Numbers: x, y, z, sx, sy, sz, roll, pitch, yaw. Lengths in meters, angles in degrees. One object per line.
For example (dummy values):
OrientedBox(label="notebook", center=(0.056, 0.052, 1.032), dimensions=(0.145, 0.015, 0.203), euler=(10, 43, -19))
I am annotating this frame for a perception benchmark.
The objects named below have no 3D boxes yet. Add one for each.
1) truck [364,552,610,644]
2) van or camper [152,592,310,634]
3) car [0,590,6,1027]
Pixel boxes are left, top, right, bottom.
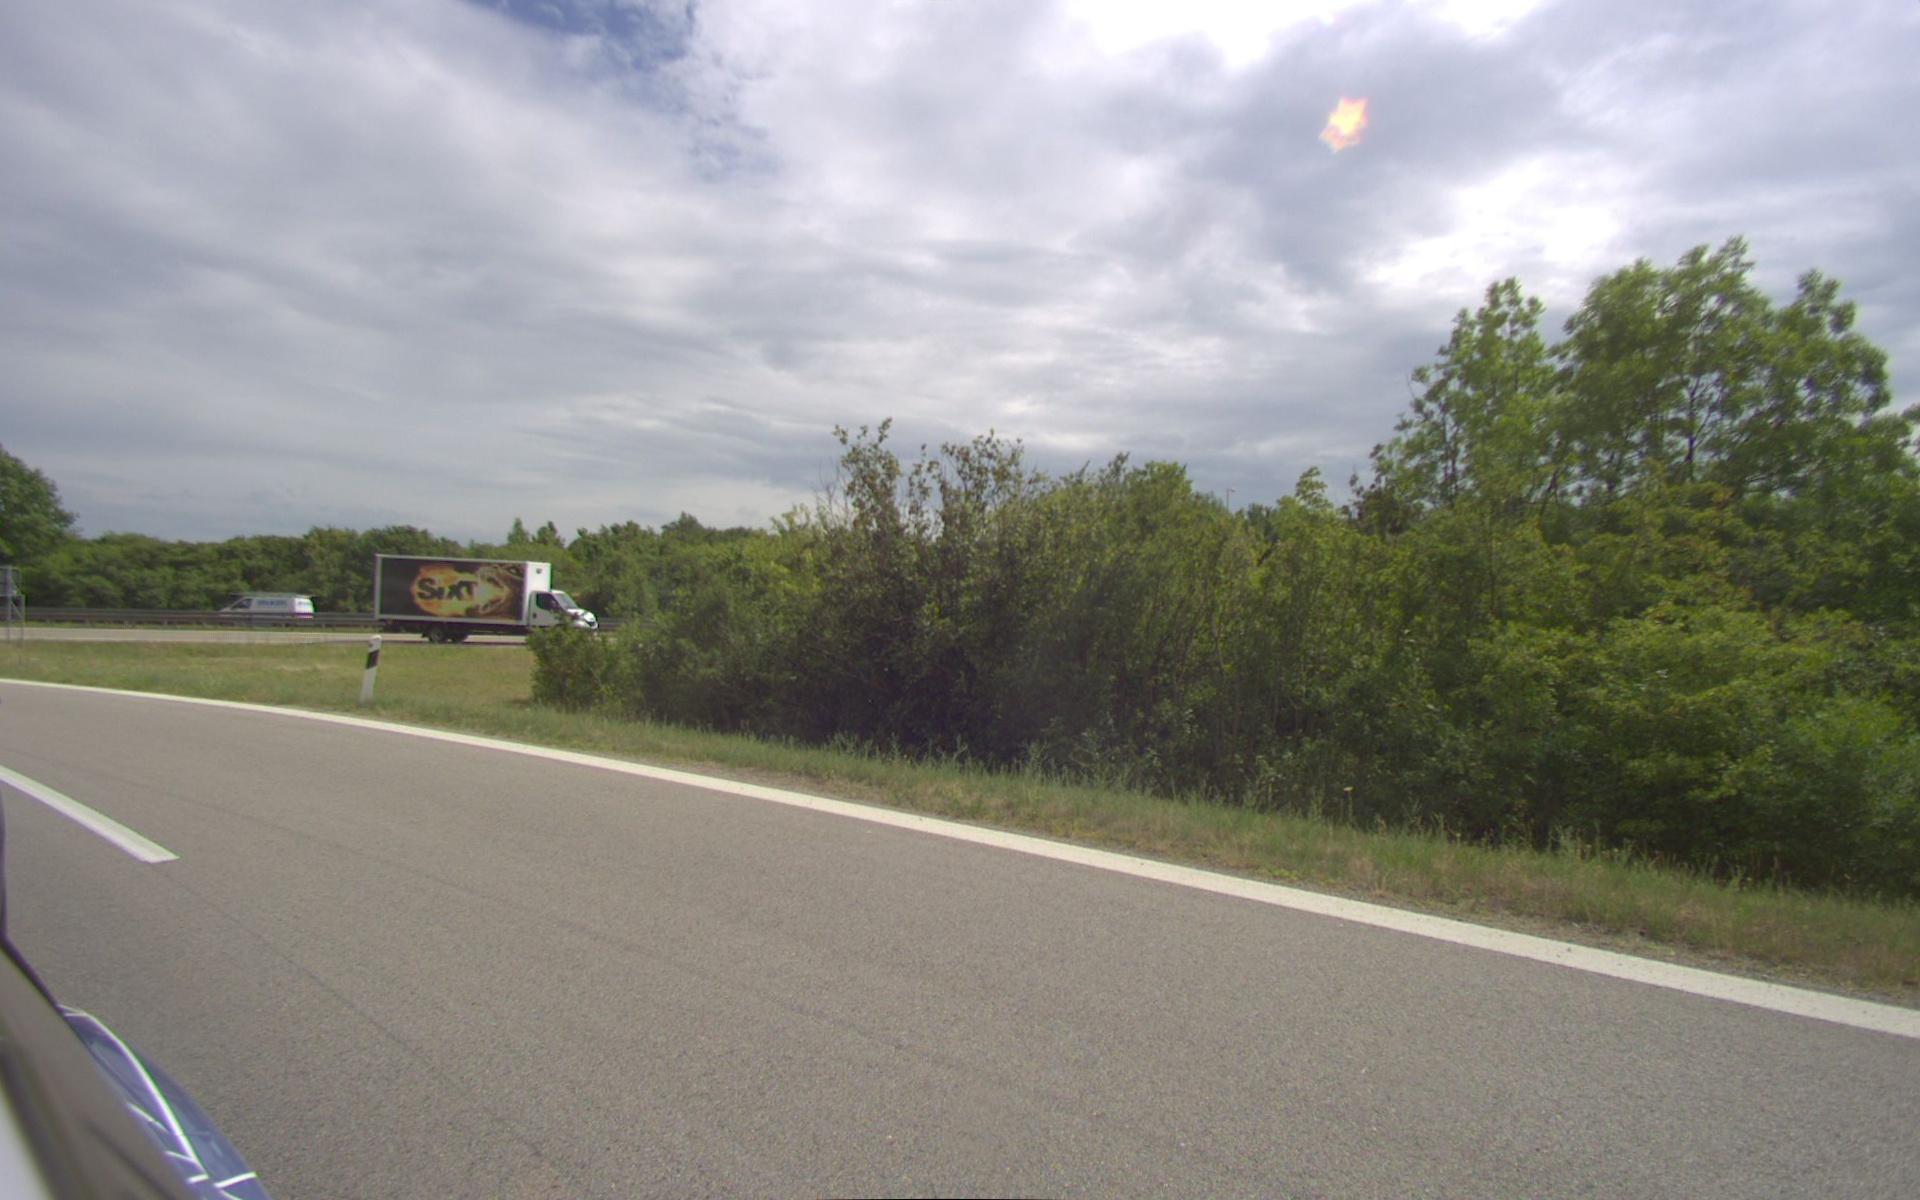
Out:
OrientedBox(label="truck", center=(-19.355, -0.089, 41.805), dimensions=(8.819, 3.614, 2.893), euler=(1, 0, 0))
OrientedBox(label="van or camper", center=(-41.685, 0.766, 58.010), dimensions=(7.227, 2.145, 2.232), euler=(1, -2, -4))
OrientedBox(label="car", center=(-5.696, 0.742, 4.254), dimensions=(4.535, 1.526, 1.973), euler=(0, 0, 40))
